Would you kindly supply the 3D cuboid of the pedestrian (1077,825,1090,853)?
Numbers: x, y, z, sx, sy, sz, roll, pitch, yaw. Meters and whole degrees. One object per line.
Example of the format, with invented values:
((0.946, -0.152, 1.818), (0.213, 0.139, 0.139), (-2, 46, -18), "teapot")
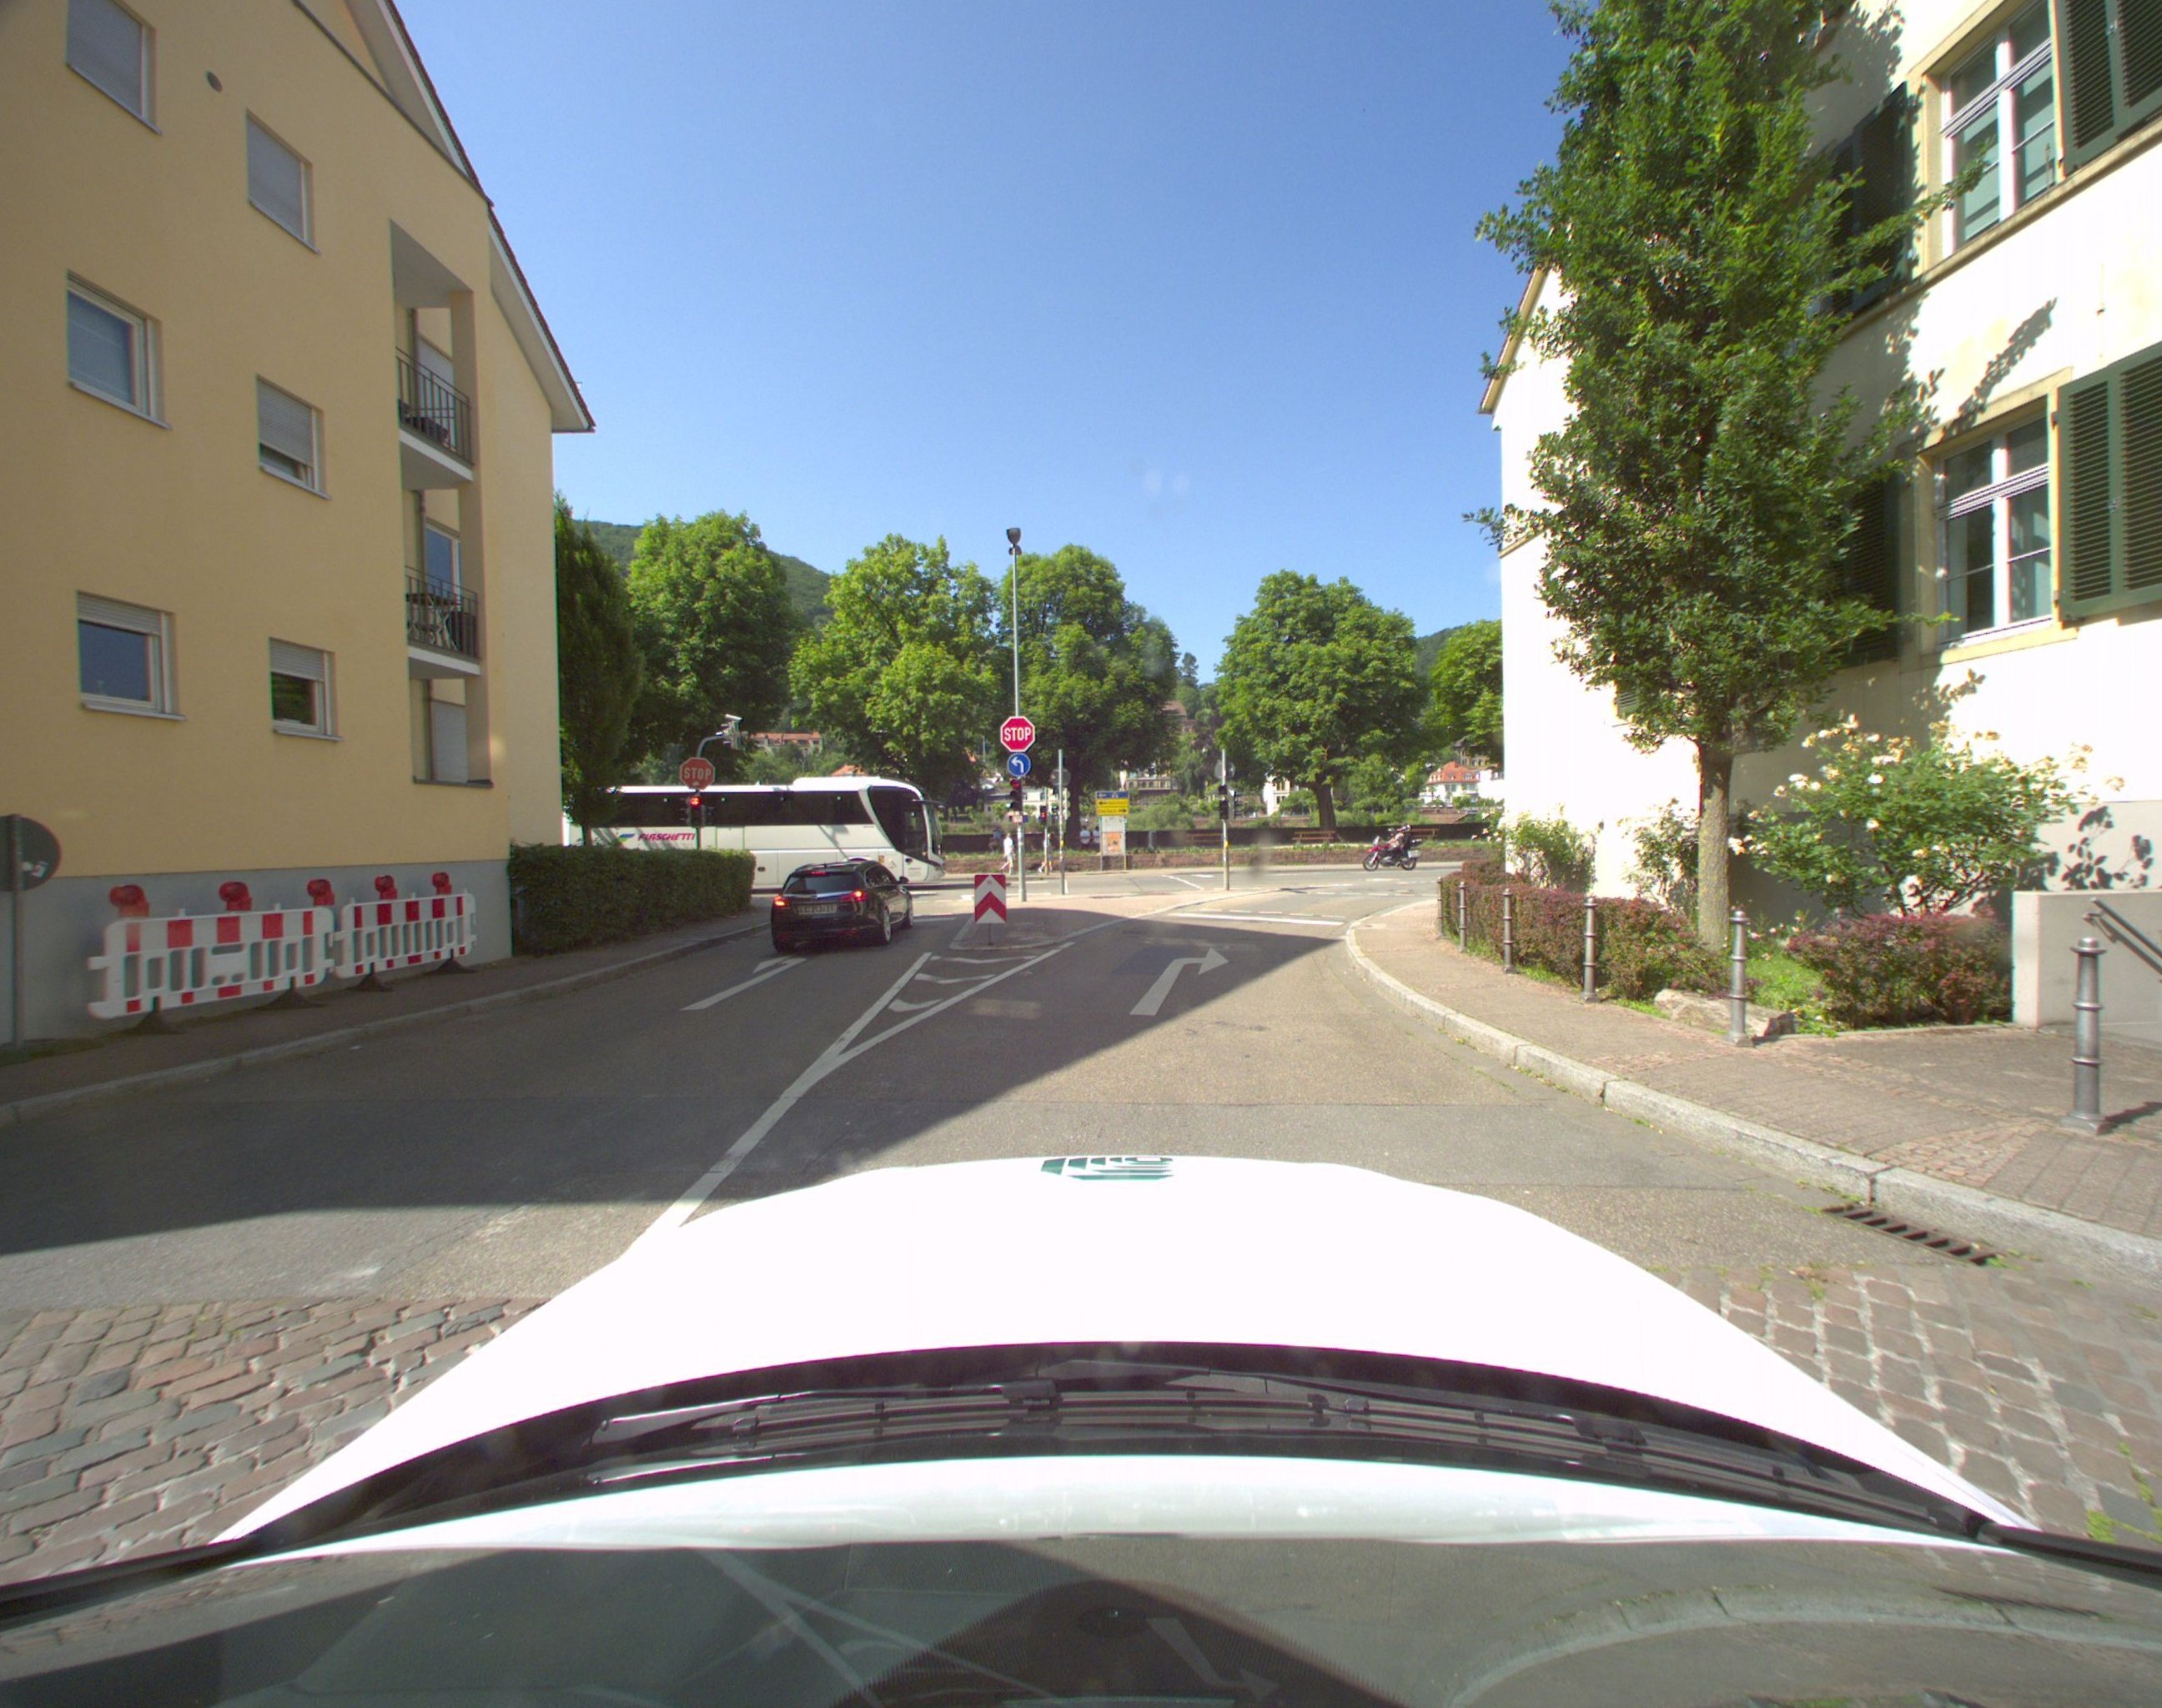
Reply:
((0.110, -0.709, 39.321), (0.551, 1.279, 0.703), (1, -2, -3), "pedestrian")

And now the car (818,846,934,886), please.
((-7.827, 0.449, 31.367), (3.977, 1.418, 1.873), (-1, 1, -3), "car")

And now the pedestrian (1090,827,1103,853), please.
((0.769, -0.680, 39.515), (0.551, 1.228, 0.985), (1, -2, -2), "pedestrian")

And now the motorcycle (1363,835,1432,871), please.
((12.594, -0.045, 32.433), (2.460, 1.376, 0.762), (-2, 1, -6), "motorcycle")

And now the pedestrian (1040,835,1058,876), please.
((-1.418, 0.048, 36.038), (0.688, 1.769, 0.715), (-2, 0, -9), "pedestrian")

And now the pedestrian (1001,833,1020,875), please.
((-3.095, 0.011, 35.843), (0.719, 1.802, 0.634), (-2, -1, 0), "pedestrian")

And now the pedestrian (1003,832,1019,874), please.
((-2.994, -0.037, 34.908), (0.576, 1.802, 0.705), (-1, 0, 0), "pedestrian")

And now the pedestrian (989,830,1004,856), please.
((-4.042, -0.520, 38.854), (0.642, 1.228, 0.412), (2, -2, -13), "pedestrian")

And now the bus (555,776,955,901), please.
((-10.552, -0.540, 27.591), (12.119, 3.788, 2.902), (-1, 0, -5), "bus")

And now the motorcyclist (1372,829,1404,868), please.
((12.202, -0.221, 32.397), (0.870, 1.494, 0.817), (-2, 0, -6), "motorcyclist")

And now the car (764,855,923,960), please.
((-4.142, 0.831, 15.008), (1.710, 1.462, 4.719), (-3, 1, -3), "car")

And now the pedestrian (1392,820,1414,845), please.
((15.977, -1.056, 40.384), (0.795, 1.211, 0.715), (1, -2, 0), "pedestrian")

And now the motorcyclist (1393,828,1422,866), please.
((13.007, -0.282, 32.461), (0.770, 1.493, 0.817), (-1, 1, -6), "motorcyclist")
